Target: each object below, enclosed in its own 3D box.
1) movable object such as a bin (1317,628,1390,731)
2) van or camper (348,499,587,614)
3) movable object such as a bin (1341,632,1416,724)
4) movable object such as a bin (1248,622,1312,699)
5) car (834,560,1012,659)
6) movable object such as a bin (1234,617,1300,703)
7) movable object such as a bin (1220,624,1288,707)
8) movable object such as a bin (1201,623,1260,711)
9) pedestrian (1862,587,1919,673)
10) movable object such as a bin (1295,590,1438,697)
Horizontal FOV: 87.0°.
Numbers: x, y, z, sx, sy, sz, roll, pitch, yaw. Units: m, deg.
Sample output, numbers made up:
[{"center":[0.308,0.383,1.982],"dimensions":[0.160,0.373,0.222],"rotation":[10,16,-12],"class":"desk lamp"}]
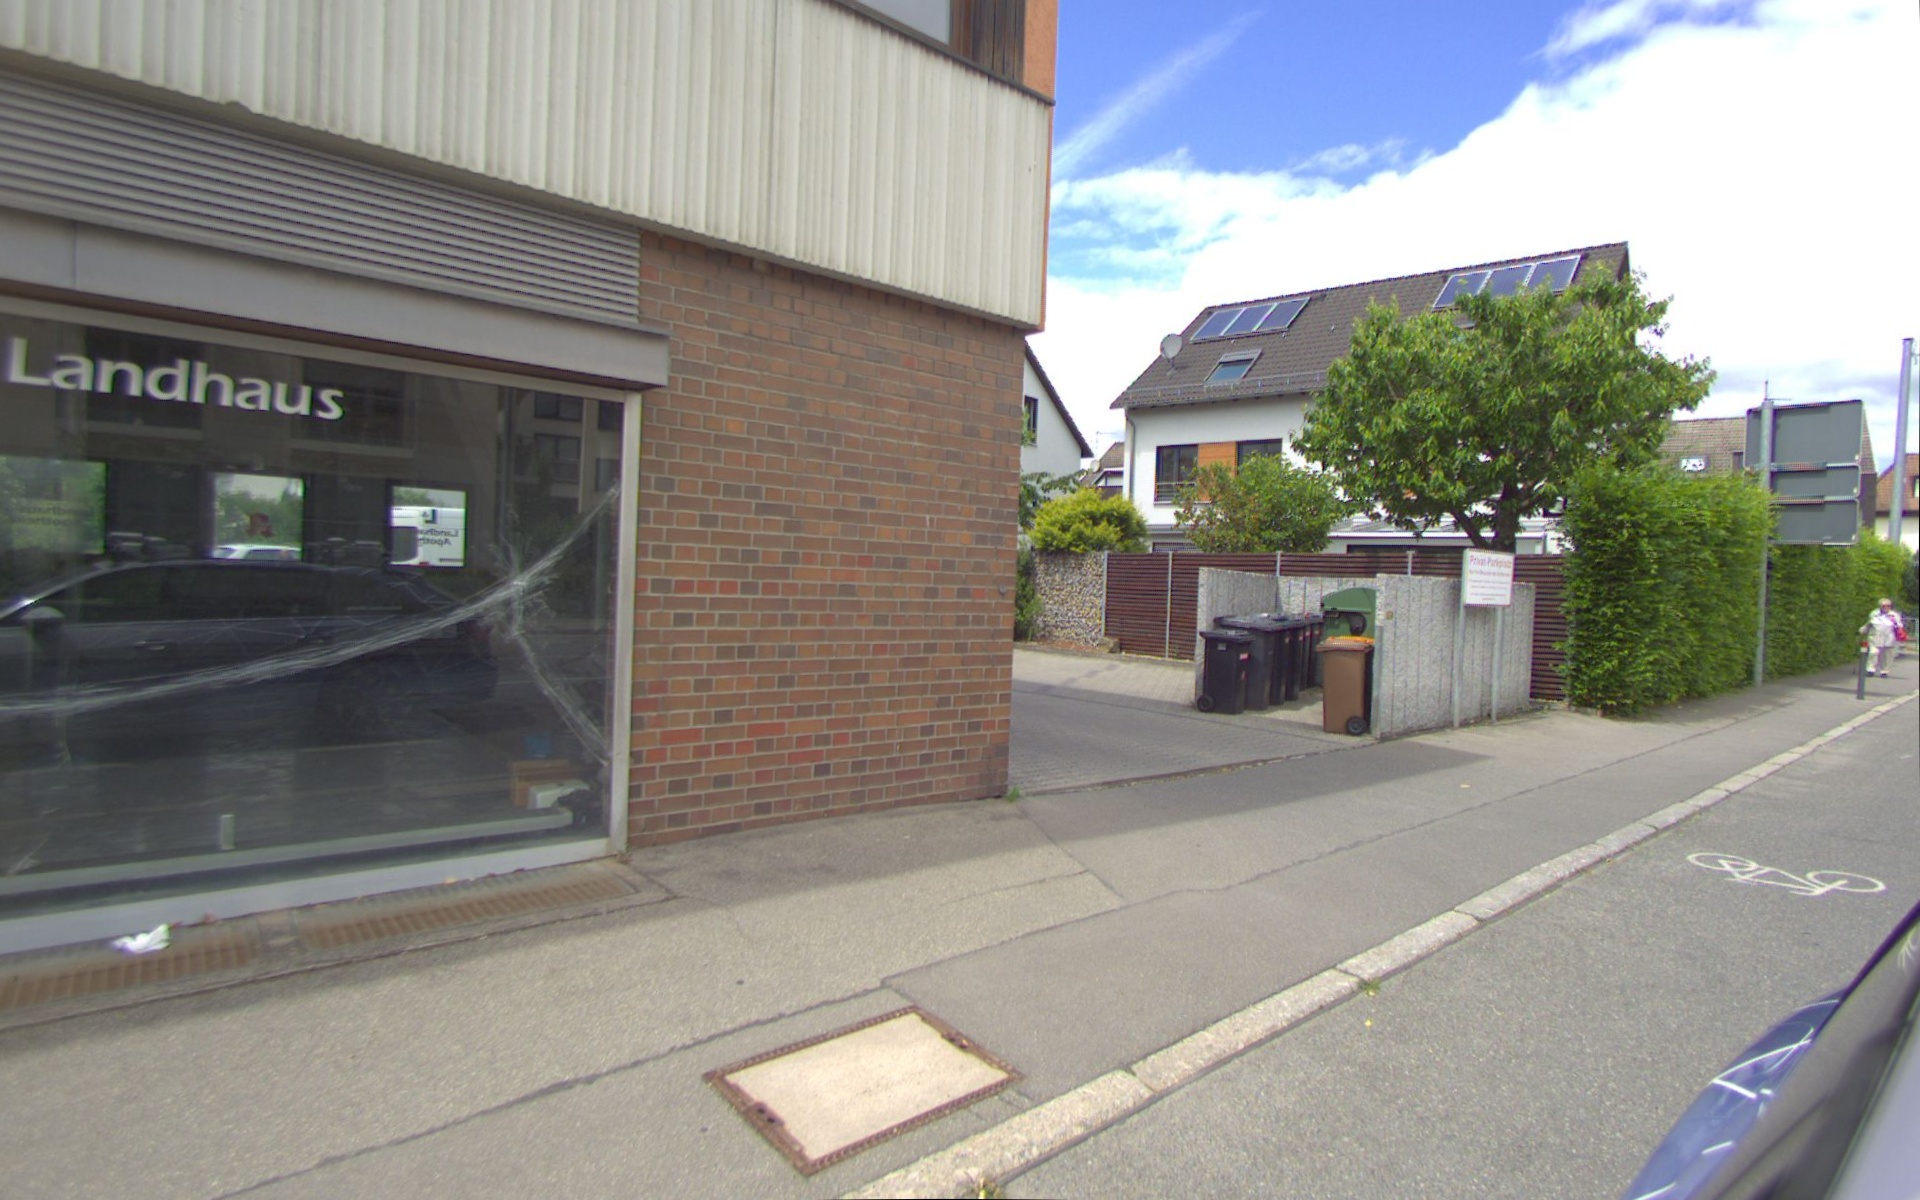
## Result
[{"center":[3.999,0.788,10.272],"dimensions":[0.530,0.963,0.678],"rotation":[1,1,36],"class":"movable object such as a bin"},{"center":[-12.161,-1.046,25.515],"dimensions":[2.034,2.574,5.473],"rotation":[2,1,21],"class":"van or camper"},{"center":[4.486,0.815,10.850],"dimensions":[0.532,0.903,0.668],"rotation":[2,1,43],"class":"movable object such as a bin"},{"center":[4.024,0.742,12.723],"dimensions":[0.630,0.904,0.534],"rotation":[1,1,33],"class":"movable object such as a bin"},{"center":[-0.556,0.112,18.343],"dimensions":[1.768,1.555,3.767],"rotation":[2,1,23],"class":"car"},{"center":[3.723,0.707,12.269],"dimensions":[0.624,0.979,0.534],"rotation":[1,1,33],"class":"movable object such as a bin"},{"center":[3.430,0.747,11.806],"dimensions":[0.630,0.904,0.534],"rotation":[1,1,33],"class":"movable object such as a bin"},{"center":[3.052,0.739,11.393],"dimensions":[0.490,0.924,0.534],"rotation":[1,1,33],"class":"movable object such as a bin"},{"center":[18.715,0.582,20.275],"dimensions":[0.641,1.637,0.801],"rotation":[1,3,-39],"class":"pedestrian"},{"center":[5.300,0.521,13.187],"dimensions":[1.509,1.278,1.190],"rotation":[0,1,-43],"class":"movable object such as a bin"}]
